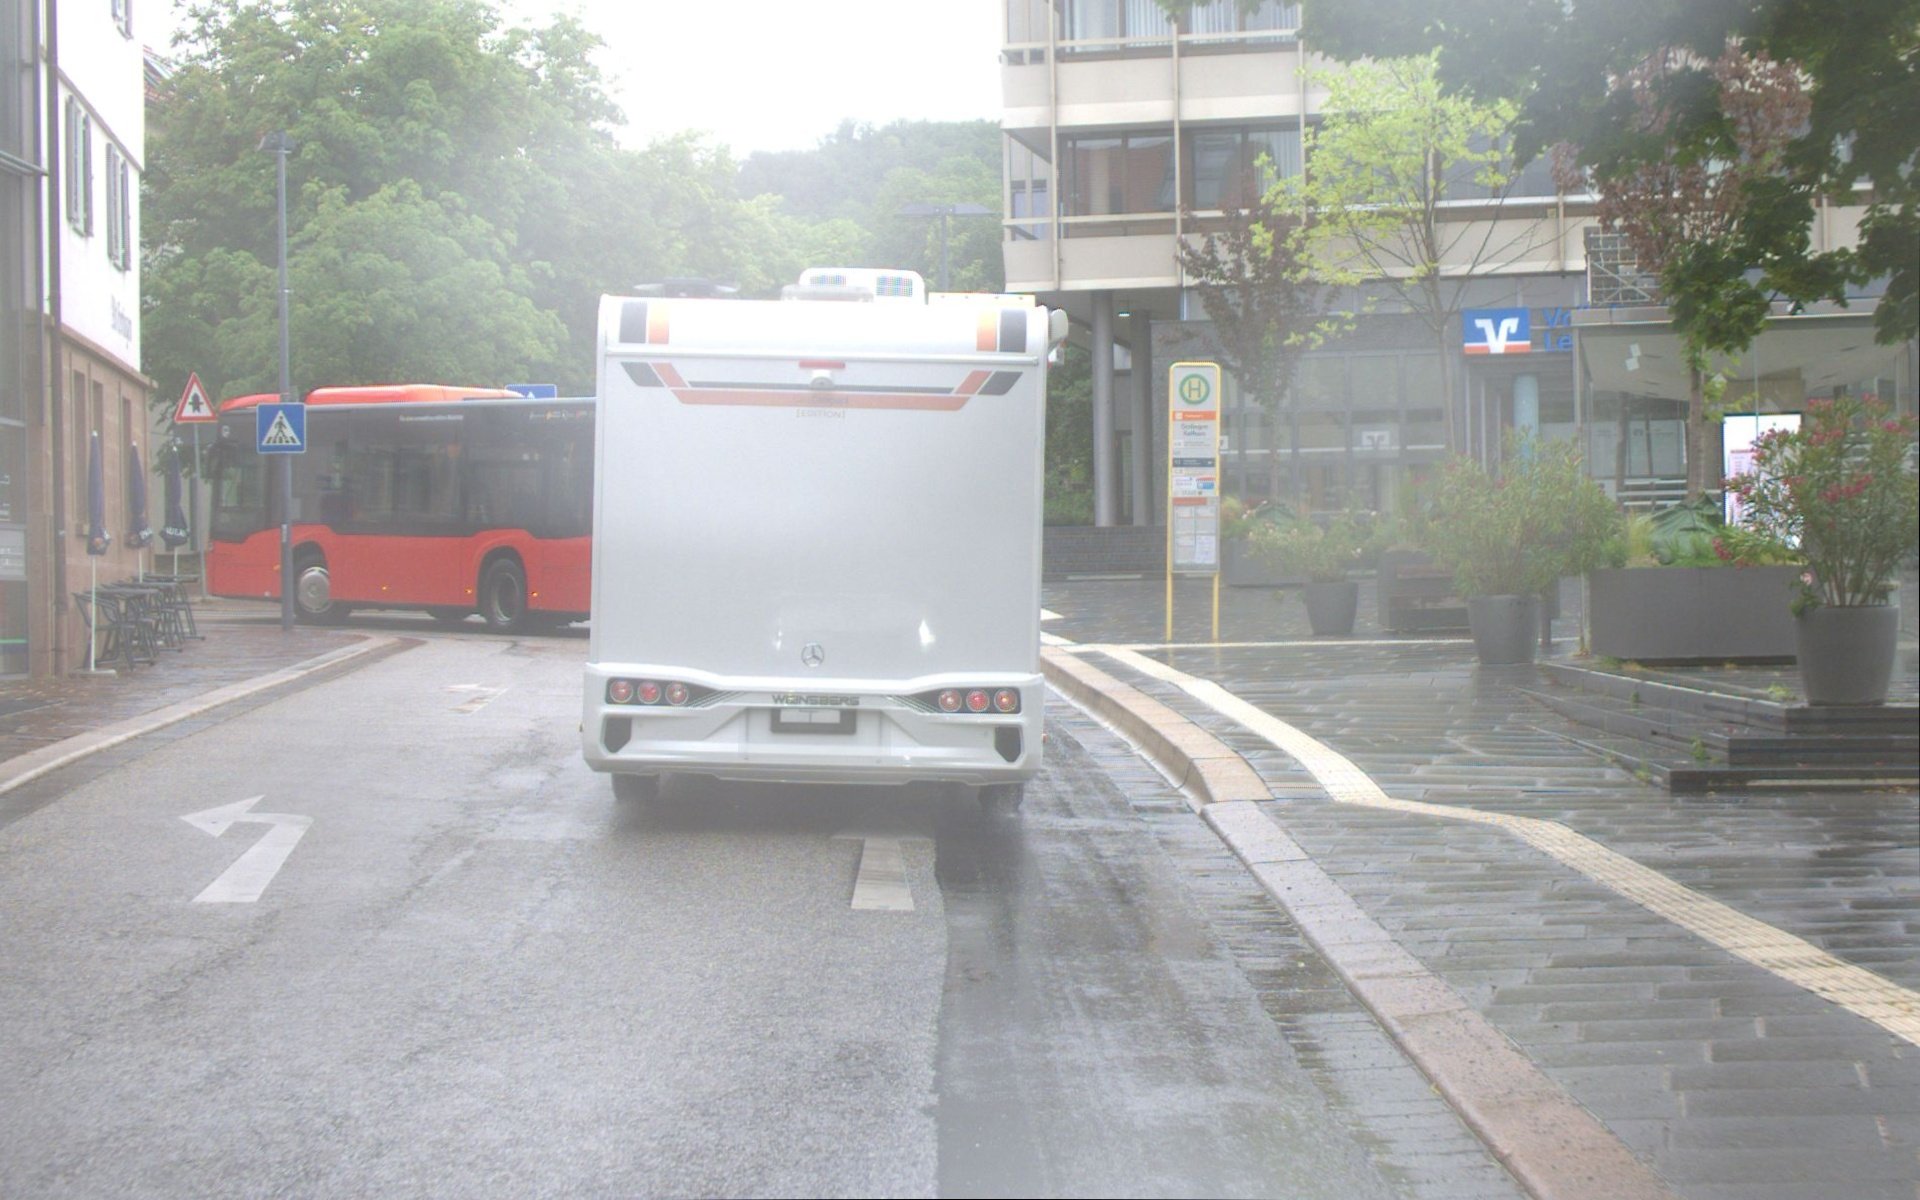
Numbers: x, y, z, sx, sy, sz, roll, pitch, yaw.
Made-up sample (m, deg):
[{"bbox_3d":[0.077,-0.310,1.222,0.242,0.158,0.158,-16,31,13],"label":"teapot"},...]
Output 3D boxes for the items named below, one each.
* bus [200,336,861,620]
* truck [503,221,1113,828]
[{"bbox_3d":[-5.749,-1.420,43.925,3.025,3.135,10.142,-3,1,-42],"label":"bus"},{"bbox_3d":[-0.688,-0.399,19.409,2.806,2.787,6.107,-2,1,1],"label":"truck"}]
